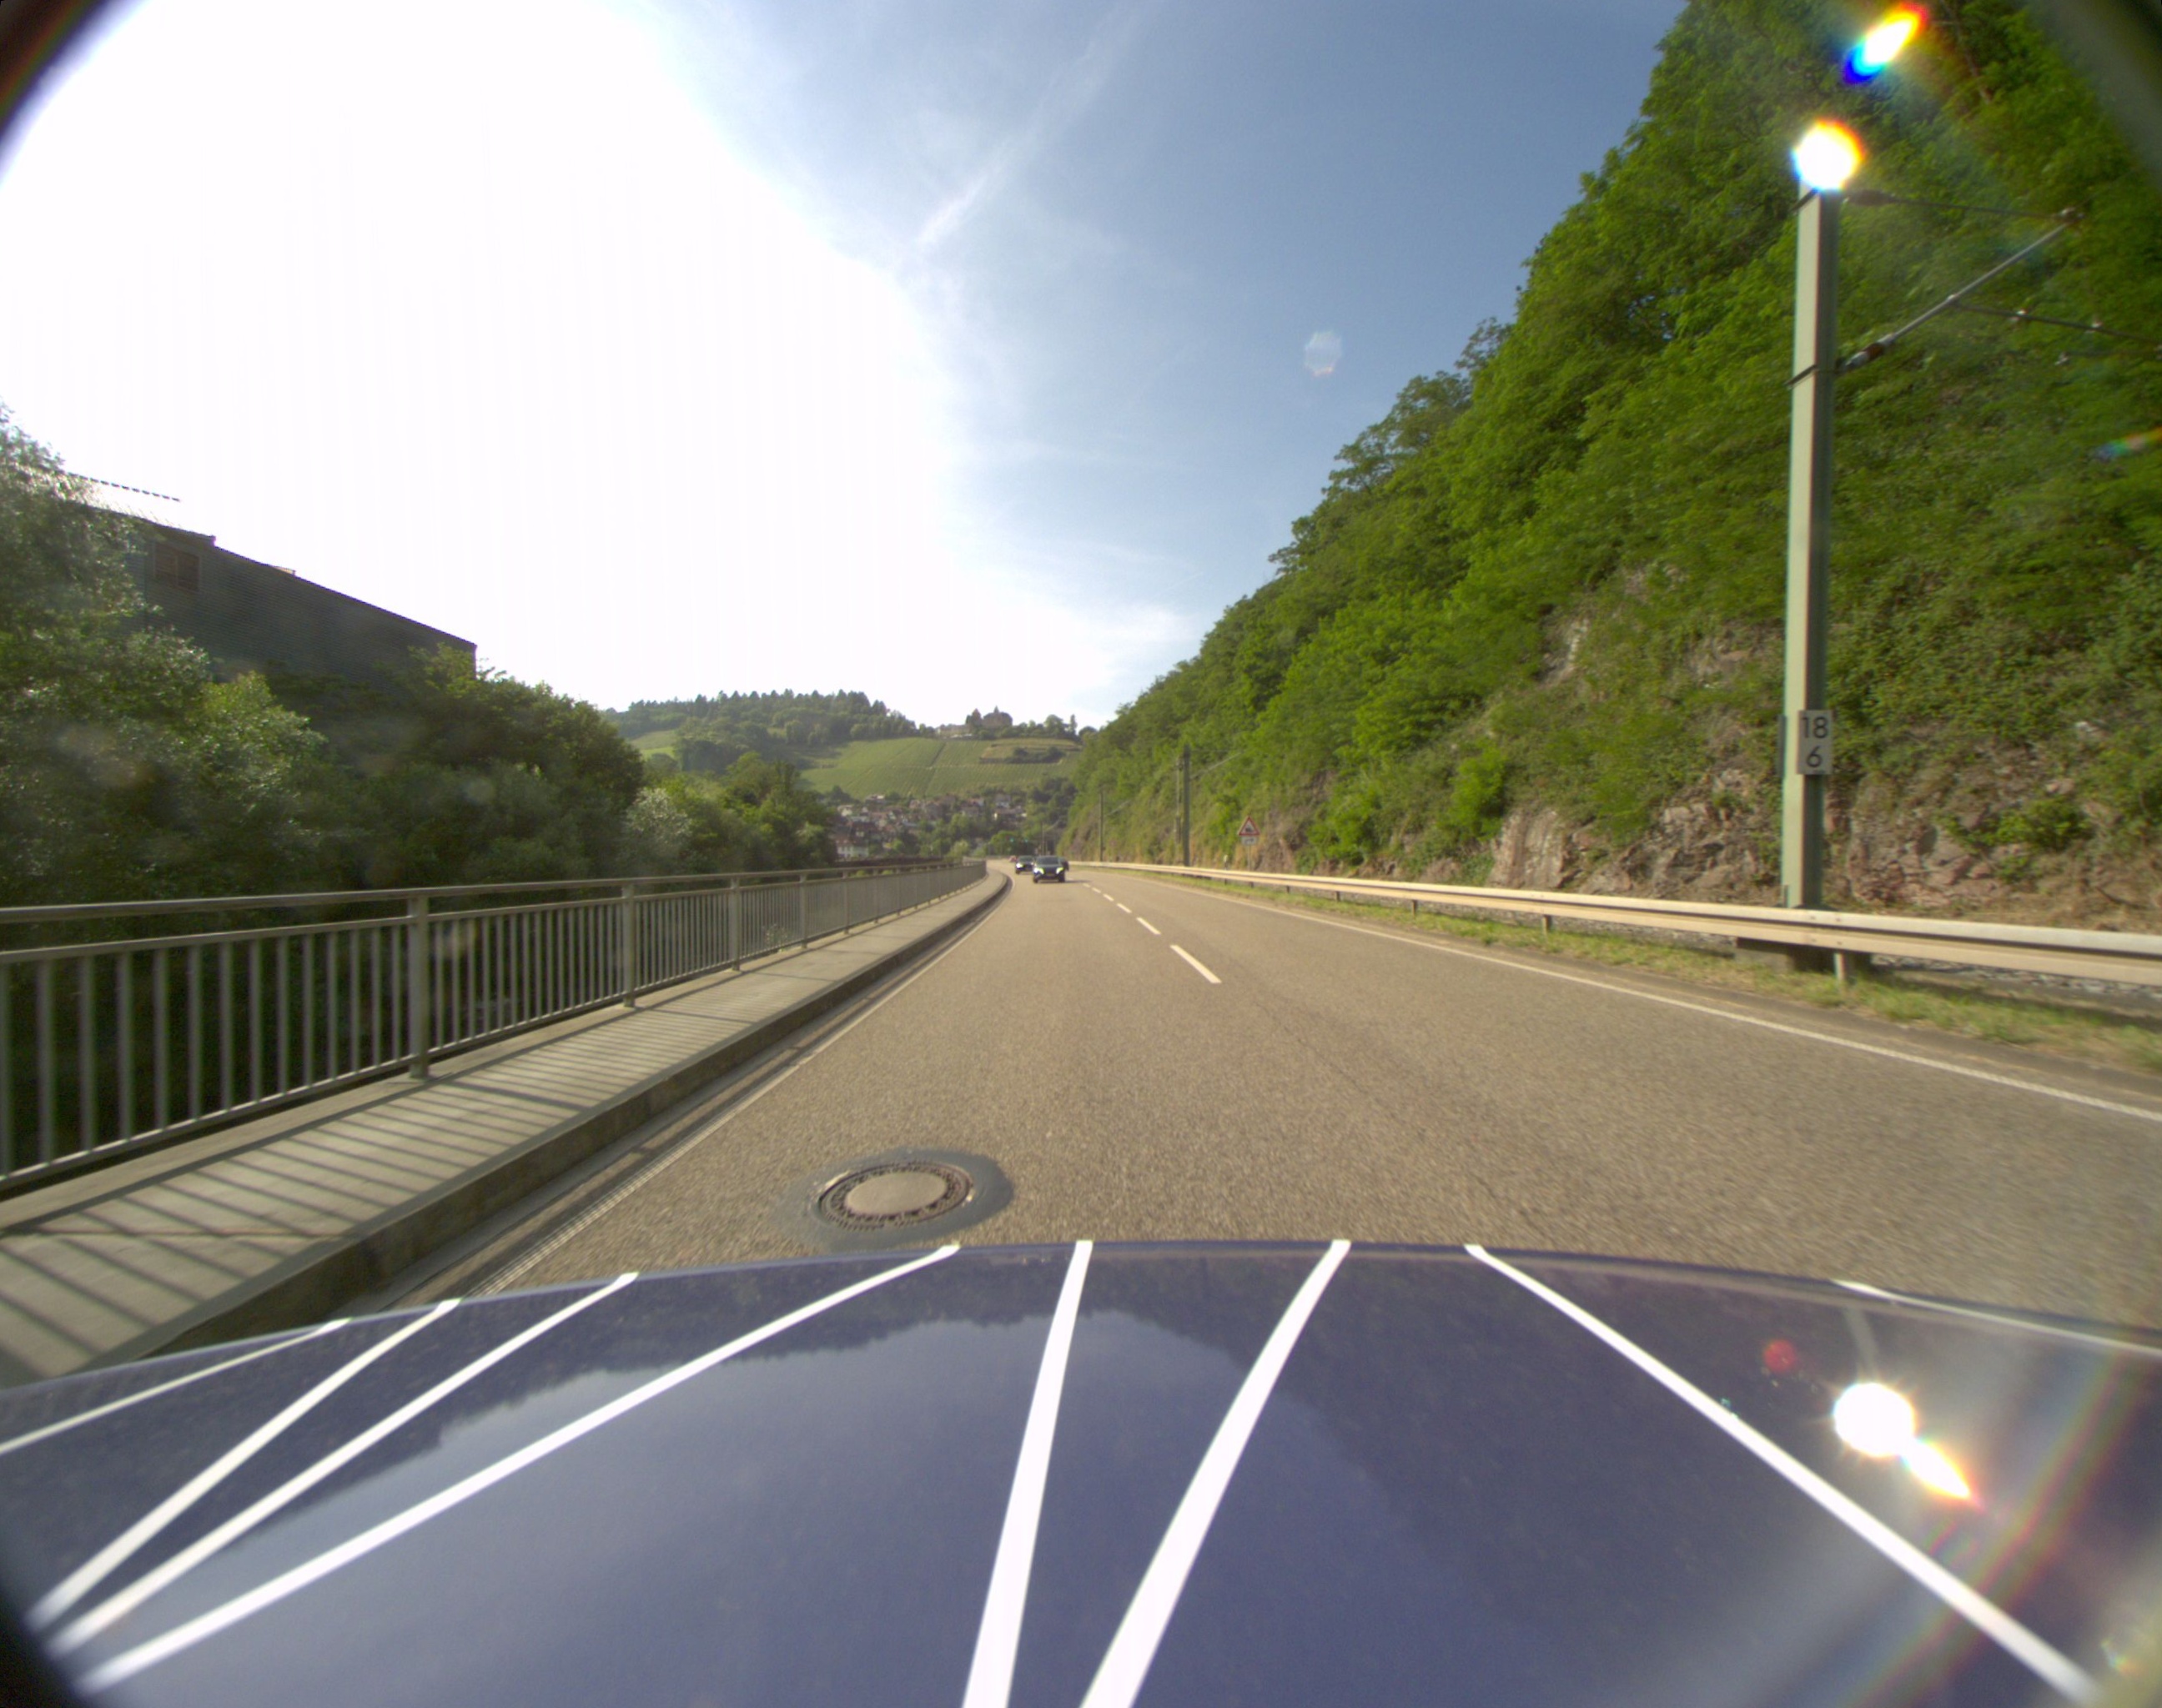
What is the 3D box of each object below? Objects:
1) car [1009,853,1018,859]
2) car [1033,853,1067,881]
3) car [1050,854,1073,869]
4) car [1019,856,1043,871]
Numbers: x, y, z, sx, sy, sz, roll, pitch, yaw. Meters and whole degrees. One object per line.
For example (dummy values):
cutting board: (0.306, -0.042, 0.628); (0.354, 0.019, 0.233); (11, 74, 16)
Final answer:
car: (-17.037, 0.457, 192.346); (1.853, 1.535, 4.600); (-1, 0, -10)
car: (-1.946, 0.784, 46.773); (1.864, 1.576, 3.998); (-2, 0, -4)
car: (-2.061, 0.779, 79.362); (1.853, 1.394, 4.473); (-2, 0, -8)
car: (-4.685, 0.875, 70.814); (2.000, 1.384, 3.998); (1, 0, -6)
